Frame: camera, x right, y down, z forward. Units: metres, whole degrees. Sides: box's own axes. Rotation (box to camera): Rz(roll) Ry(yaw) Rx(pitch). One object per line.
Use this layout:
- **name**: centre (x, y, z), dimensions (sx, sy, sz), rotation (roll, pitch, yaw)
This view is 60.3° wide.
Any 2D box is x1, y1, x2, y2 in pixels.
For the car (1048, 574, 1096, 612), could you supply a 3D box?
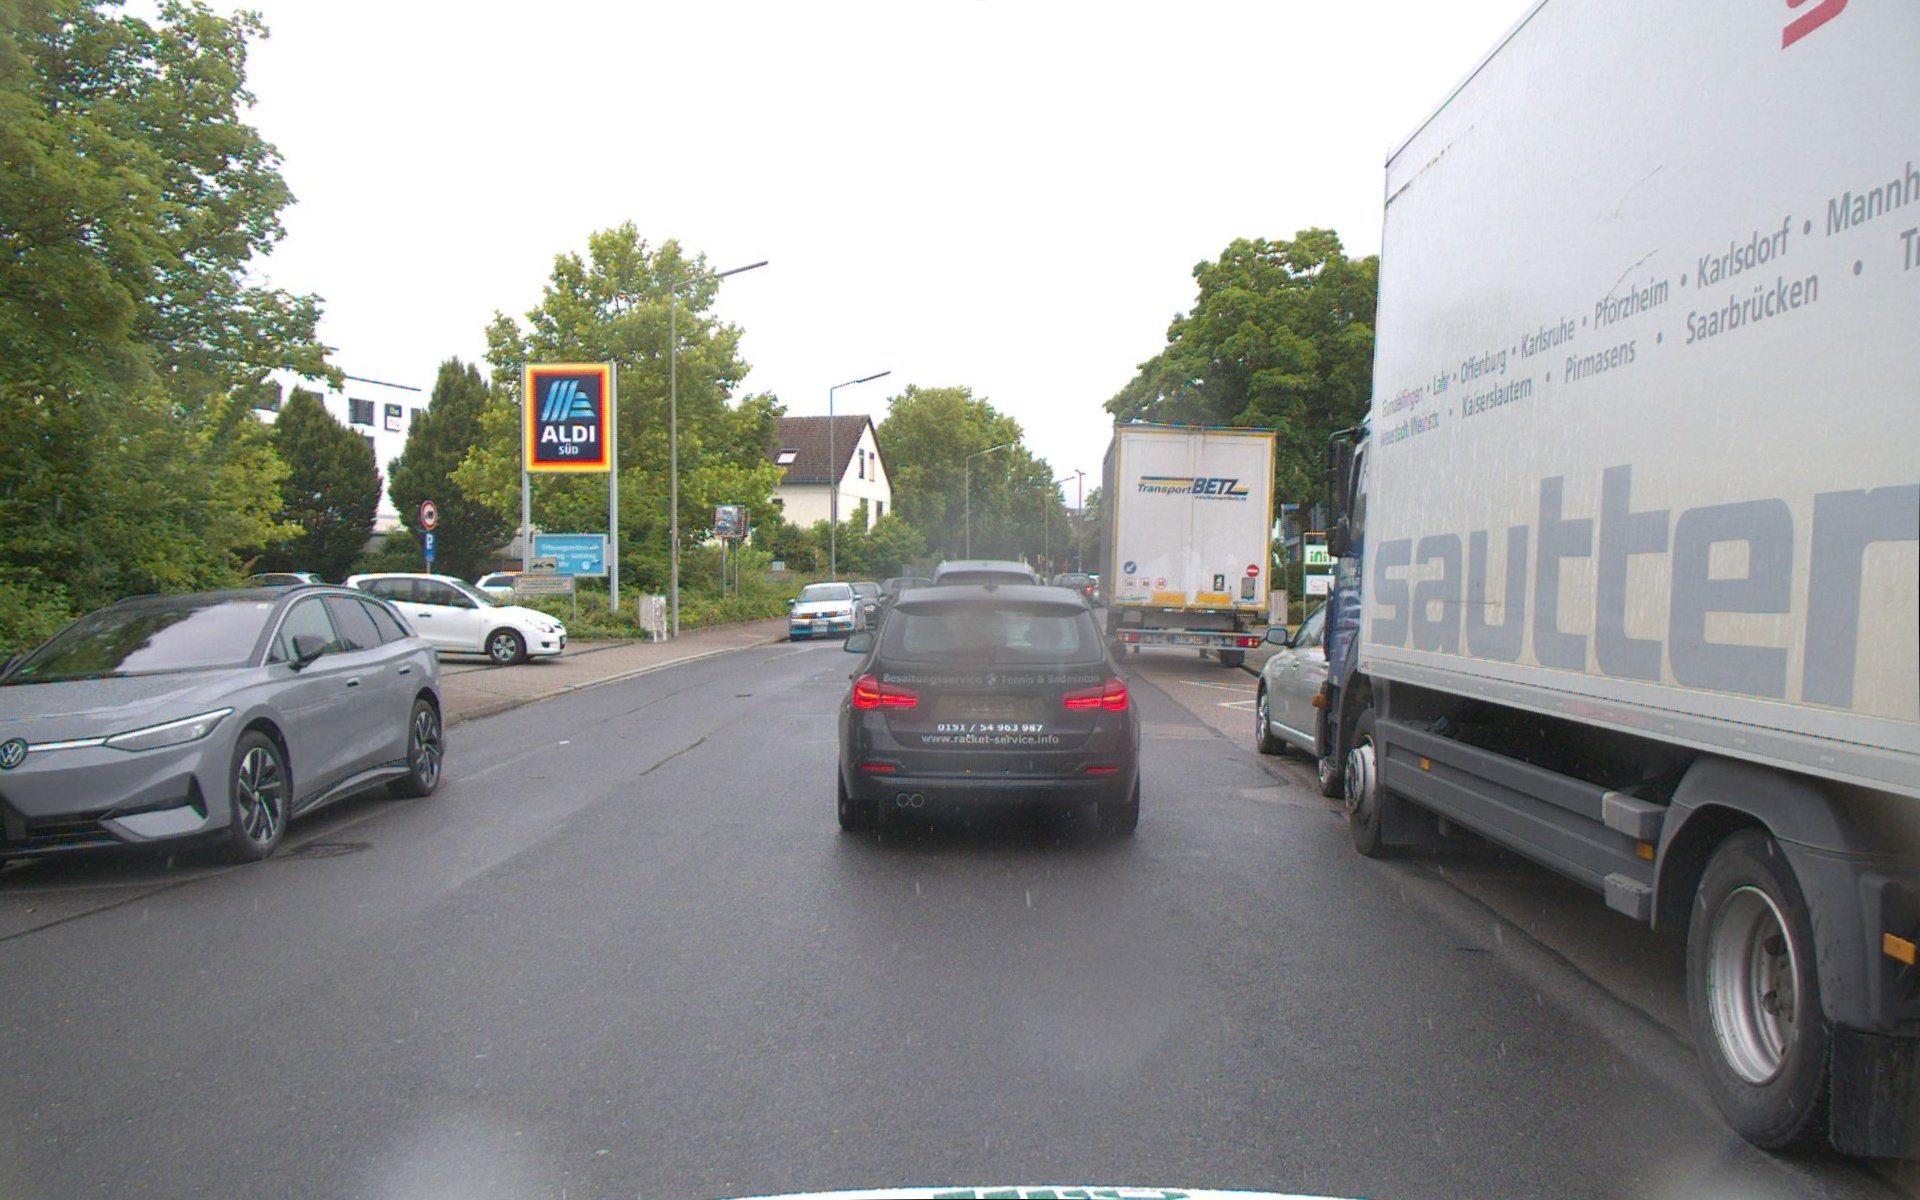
- **car**: centre (4.958, -0.301, 72.565), dimensions (1.766, 1.614, 4.003), rotation (1, 0, 8)

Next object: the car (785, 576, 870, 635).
- **car**: centre (-3.435, 0.108, 43.647), dimensions (1.670, 1.391, 4.603), rotation (-2, 1, 2)

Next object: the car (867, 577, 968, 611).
- **car**: centre (-1.720, -0.247, 68.245), dimensions (4.100, 1.386, 1.589), rotation (0, 1, 1)

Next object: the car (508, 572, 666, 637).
- **car**: centre (-9.296, 0.099, 41.389), dimensions (3.496, 1.485, 1.713), rotation (2, 1, 1)

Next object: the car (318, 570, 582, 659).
- **car**: centre (-8.872, 0.240, 29.012), dimensions (4.106, 1.485, 1.711), rotation (1, 1, -3)

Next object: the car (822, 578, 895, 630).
- **car**: centre (-2.997, 0.098, 49.621), dimensions (1.670, 1.391, 3.840), rotation (-2, 1, 3)

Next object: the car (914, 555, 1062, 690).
- **car**: centre (0.284, 0.255, 22.029), dimensions (1.768, 1.614, 3.999), rotation (1, 0, -2)

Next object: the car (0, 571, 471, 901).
- **car**: centre (-4.717, 0.674, 10.519), dimensions (1.772, 1.554, 4.747), rotation (-4, 1, -1)

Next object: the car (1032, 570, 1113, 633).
- **car**: centre (3.144, 0.033, 47.016), dimensions (1.953, 1.713, 3.999), rotation (1, 0, -1)

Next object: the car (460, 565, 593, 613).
- **car**: centre (-14.426, -0.367, 55.150), dimensions (3.905, 1.567, 1.911), rotation (0, 1, 1)

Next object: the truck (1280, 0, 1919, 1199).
- **truck**: centre (3.461, -0.507, 6.009), dimensions (2.685, 3.855, 9.300), rotation (2, 1, 0)

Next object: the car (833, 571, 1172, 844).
- **car**: centre (0.162, 0.551, 10.689), dimensions (1.768, 1.419, 3.999), rotation (1, 0, -2)

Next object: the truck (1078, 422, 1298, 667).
- **truck**: centre (3.797, -0.910, 29.390), dimensions (2.685, 3.673, 7.750), rotation (2, 1, 0)

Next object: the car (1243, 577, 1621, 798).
- **car**: centre (3.545, 0.558, 13.276), dimensions (1.761, 1.466, 4.345), rotation (0, 1, -1)

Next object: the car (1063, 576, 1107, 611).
- **car**: centre (6.011, -0.312, 79.167), dimensions (1.766, 1.614, 4.003), rotation (1, 0, 8)

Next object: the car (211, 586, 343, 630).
- **car**: centre (-24.656, 0.287, 59.777), dimensions (3.904, 1.526, 2.001), rotation (0, 1, 2)

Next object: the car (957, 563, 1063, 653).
- **car**: centre (1.032, 0.126, 32.092), dimensions (1.766, 1.614, 4.003), rotation (1, 0, 5)
